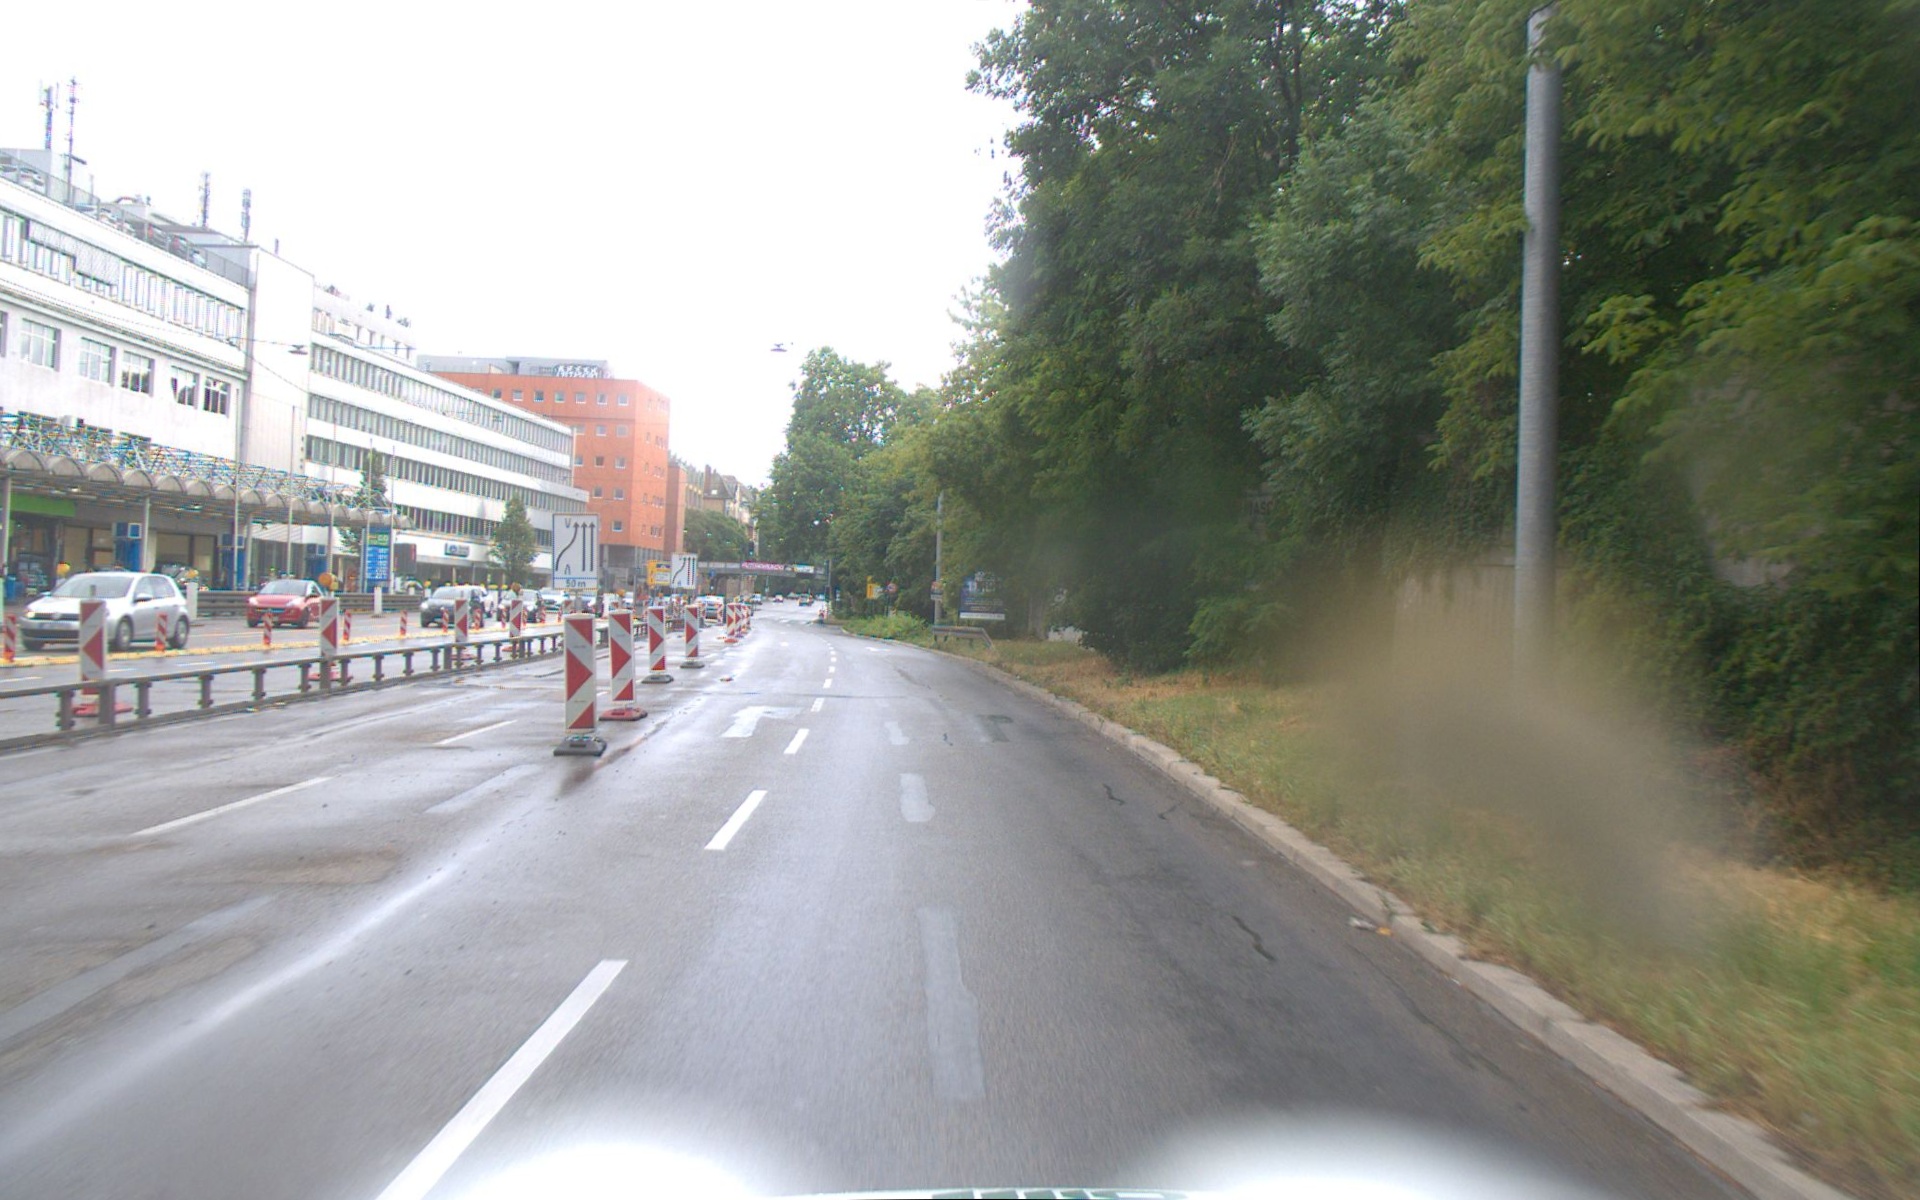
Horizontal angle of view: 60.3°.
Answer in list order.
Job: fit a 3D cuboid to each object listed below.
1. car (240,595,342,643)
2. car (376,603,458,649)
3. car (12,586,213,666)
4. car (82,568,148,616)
[{"bbox_3d":[-20.854,0.580,51.700,1.744,1.405,3.998,1,0,-3],"label":"car"},{"bbox_3d":[-18.034,0.838,55.131,1.745,1.405,3.995,1,0,-6],"label":"car"},{"bbox_3d":[-16.059,0.453,31.609,1.744,1.405,4.453,1,0,-3],"label":"car"},{"bbox_3d":[-33.386,-0.344,65.285,1.784,1.683,3.953,4,0,-34],"label":"car"}]
